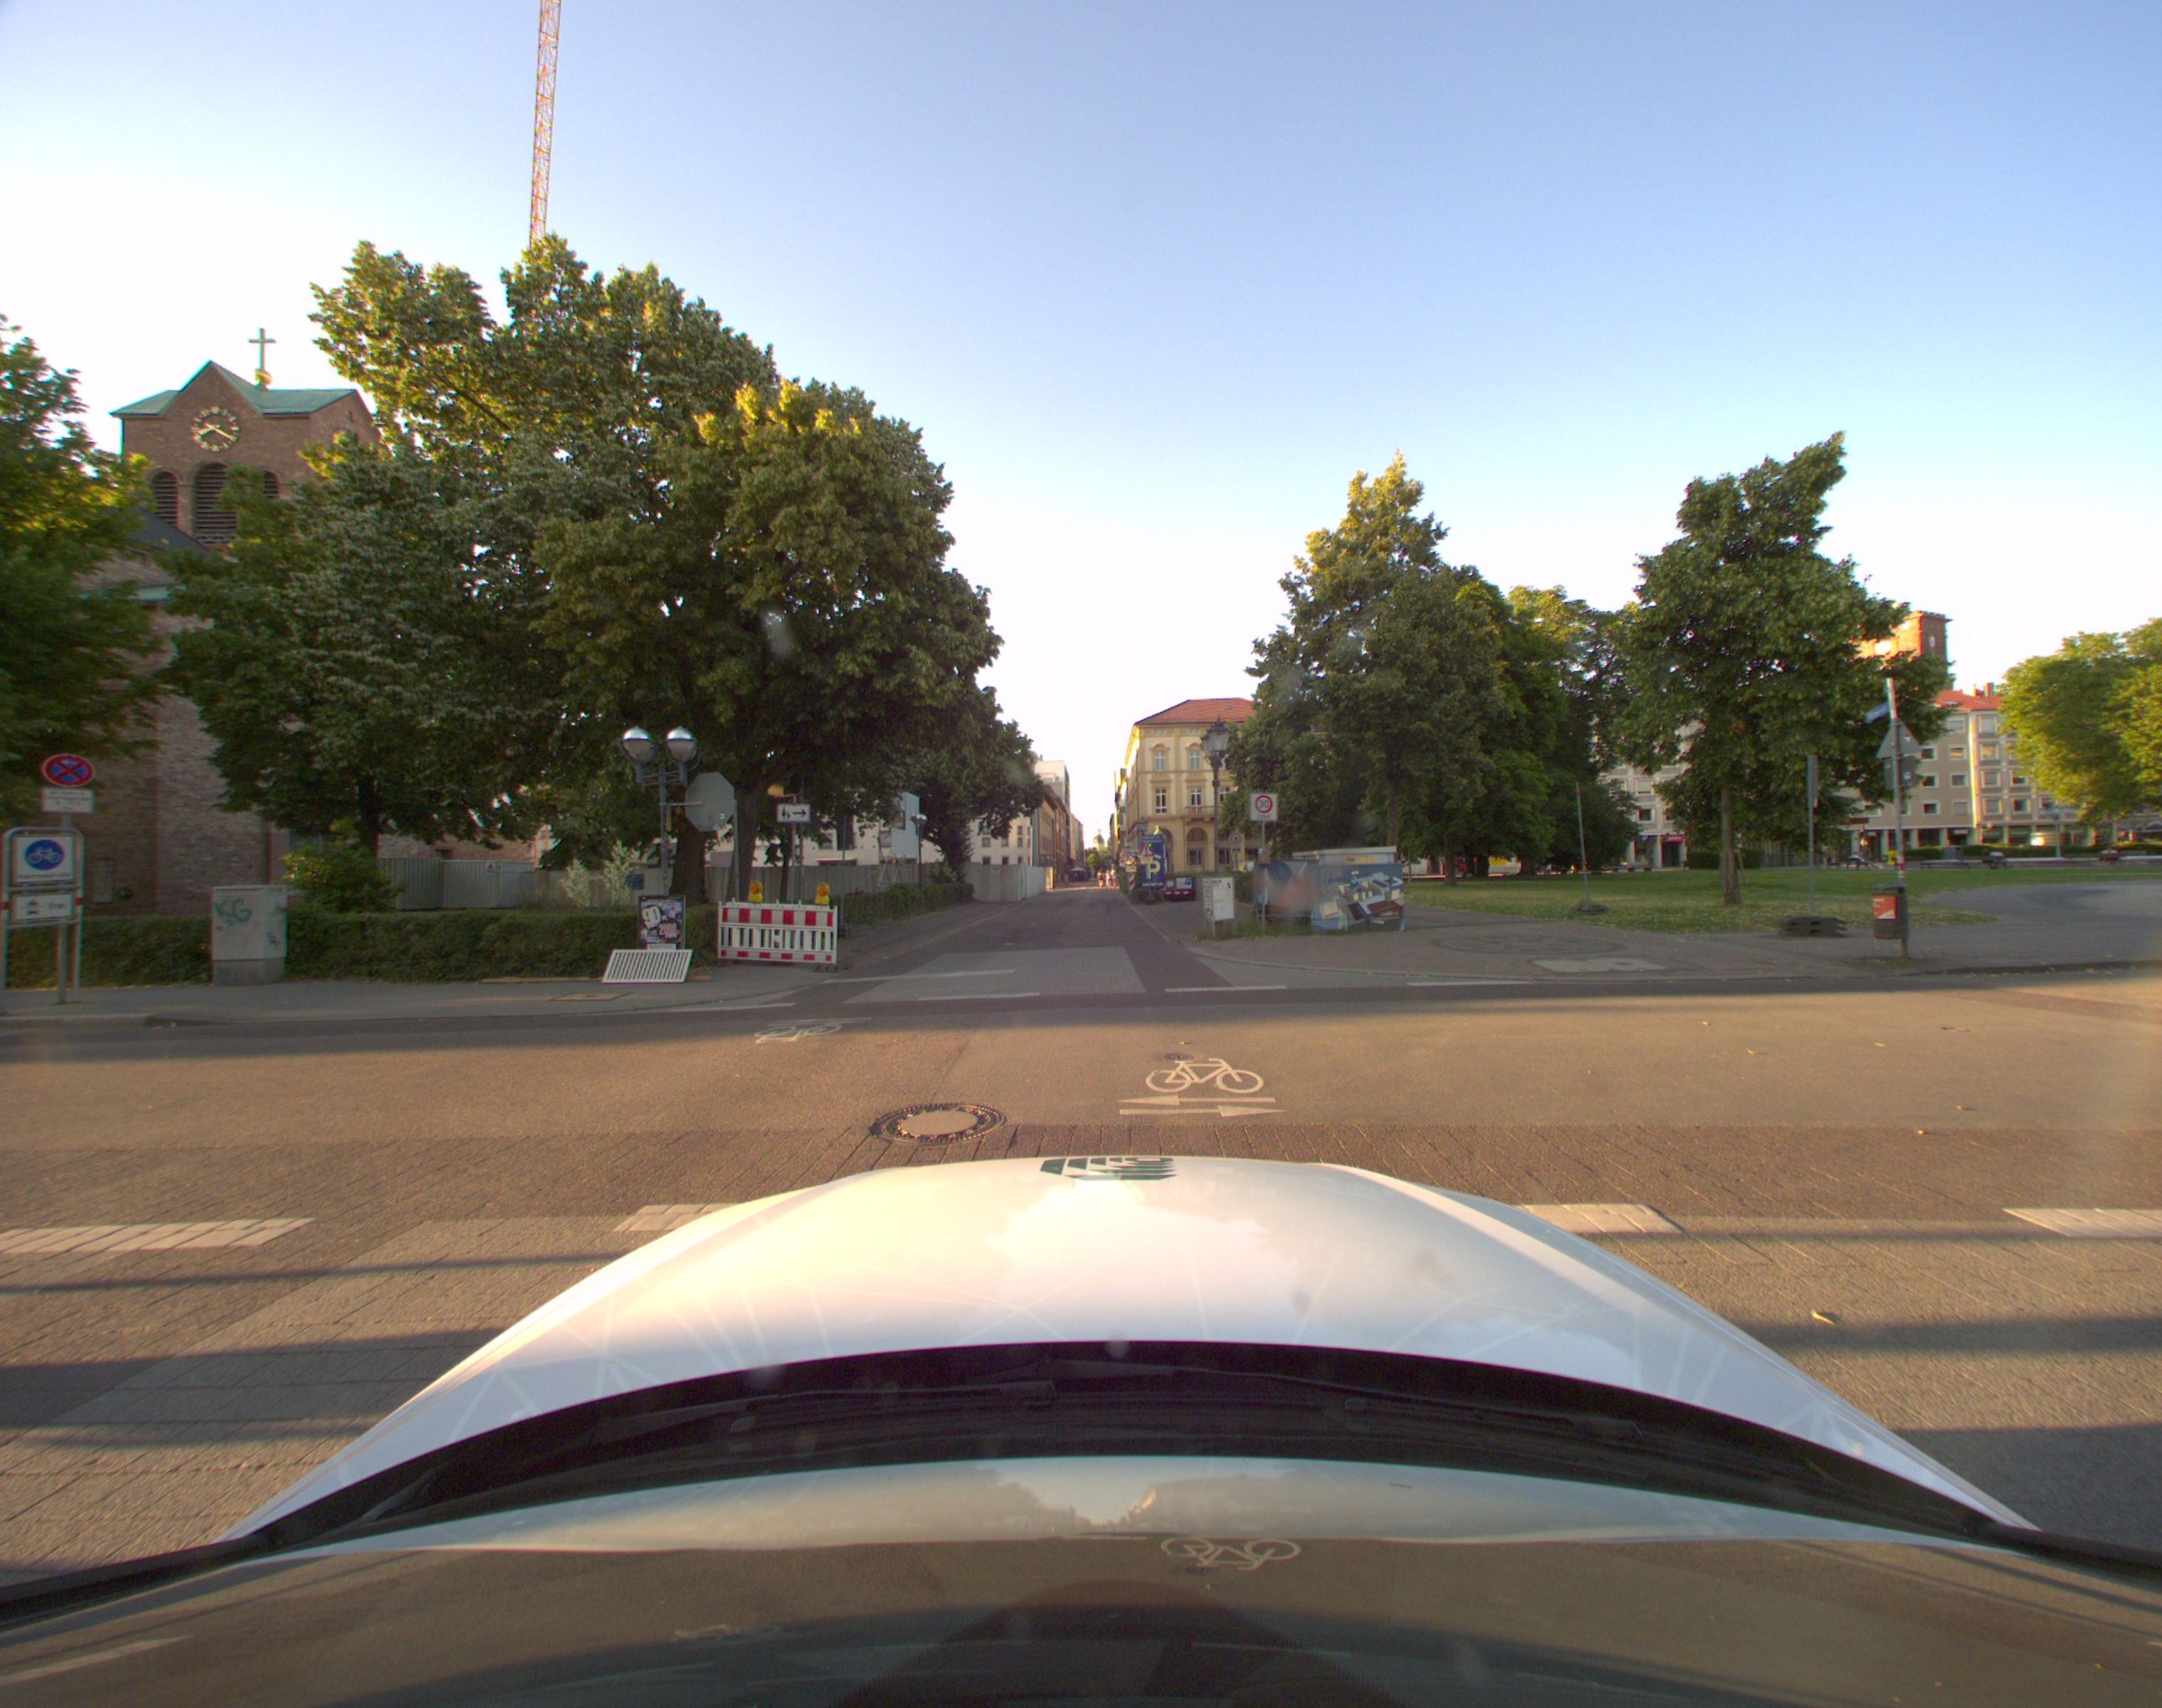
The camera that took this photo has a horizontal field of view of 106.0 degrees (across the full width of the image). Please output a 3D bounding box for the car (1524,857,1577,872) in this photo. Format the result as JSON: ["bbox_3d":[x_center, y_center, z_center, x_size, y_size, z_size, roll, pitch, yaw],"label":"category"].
[{"bbox_3d":[42.036,0.954,72.942,3.568,1.240,1.996,-2,-1,-6],"label":"car"}]

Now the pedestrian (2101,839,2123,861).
[{"bbox_3d":[52.072,-0.199,41.139,0.514,1.077,0.614,-1,-2,-39],"label":"pedestrian"}]

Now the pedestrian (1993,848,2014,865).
[{"bbox_3d":[50.335,0.131,44.436,0.512,0.925,0.616,-1,-2,-24],"label":"pedestrian"}]

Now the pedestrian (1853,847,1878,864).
[{"bbox_3d":[50.043,0.107,51.961,0.889,1.077,0.624,-3,-2,18],"label":"pedestrian"}]

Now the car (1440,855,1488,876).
[{"bbox_3d":[39.789,1.191,84.616,4.016,2.014,2.001,-2,-1,2],"label":"car"}]

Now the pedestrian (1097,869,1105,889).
[{"bbox_3d":[1.858,2.232,73.770,0.655,1.760,0.745,-2,-1,1],"label":"pedestrian"}]

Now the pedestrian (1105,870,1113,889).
[{"bbox_3d":[2.477,2.274,72.641,0.655,1.617,0.745,-2,-1,1],"label":"pedestrian"}]

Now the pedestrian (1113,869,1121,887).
[{"bbox_3d":[3.187,2.130,72.565,0.655,1.617,0.745,-2,-1,1],"label":"pedestrian"}]

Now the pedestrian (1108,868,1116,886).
[{"bbox_3d":[2.788,2.095,73.622,0.655,1.636,0.745,-2,-1,1],"label":"pedestrian"}]
